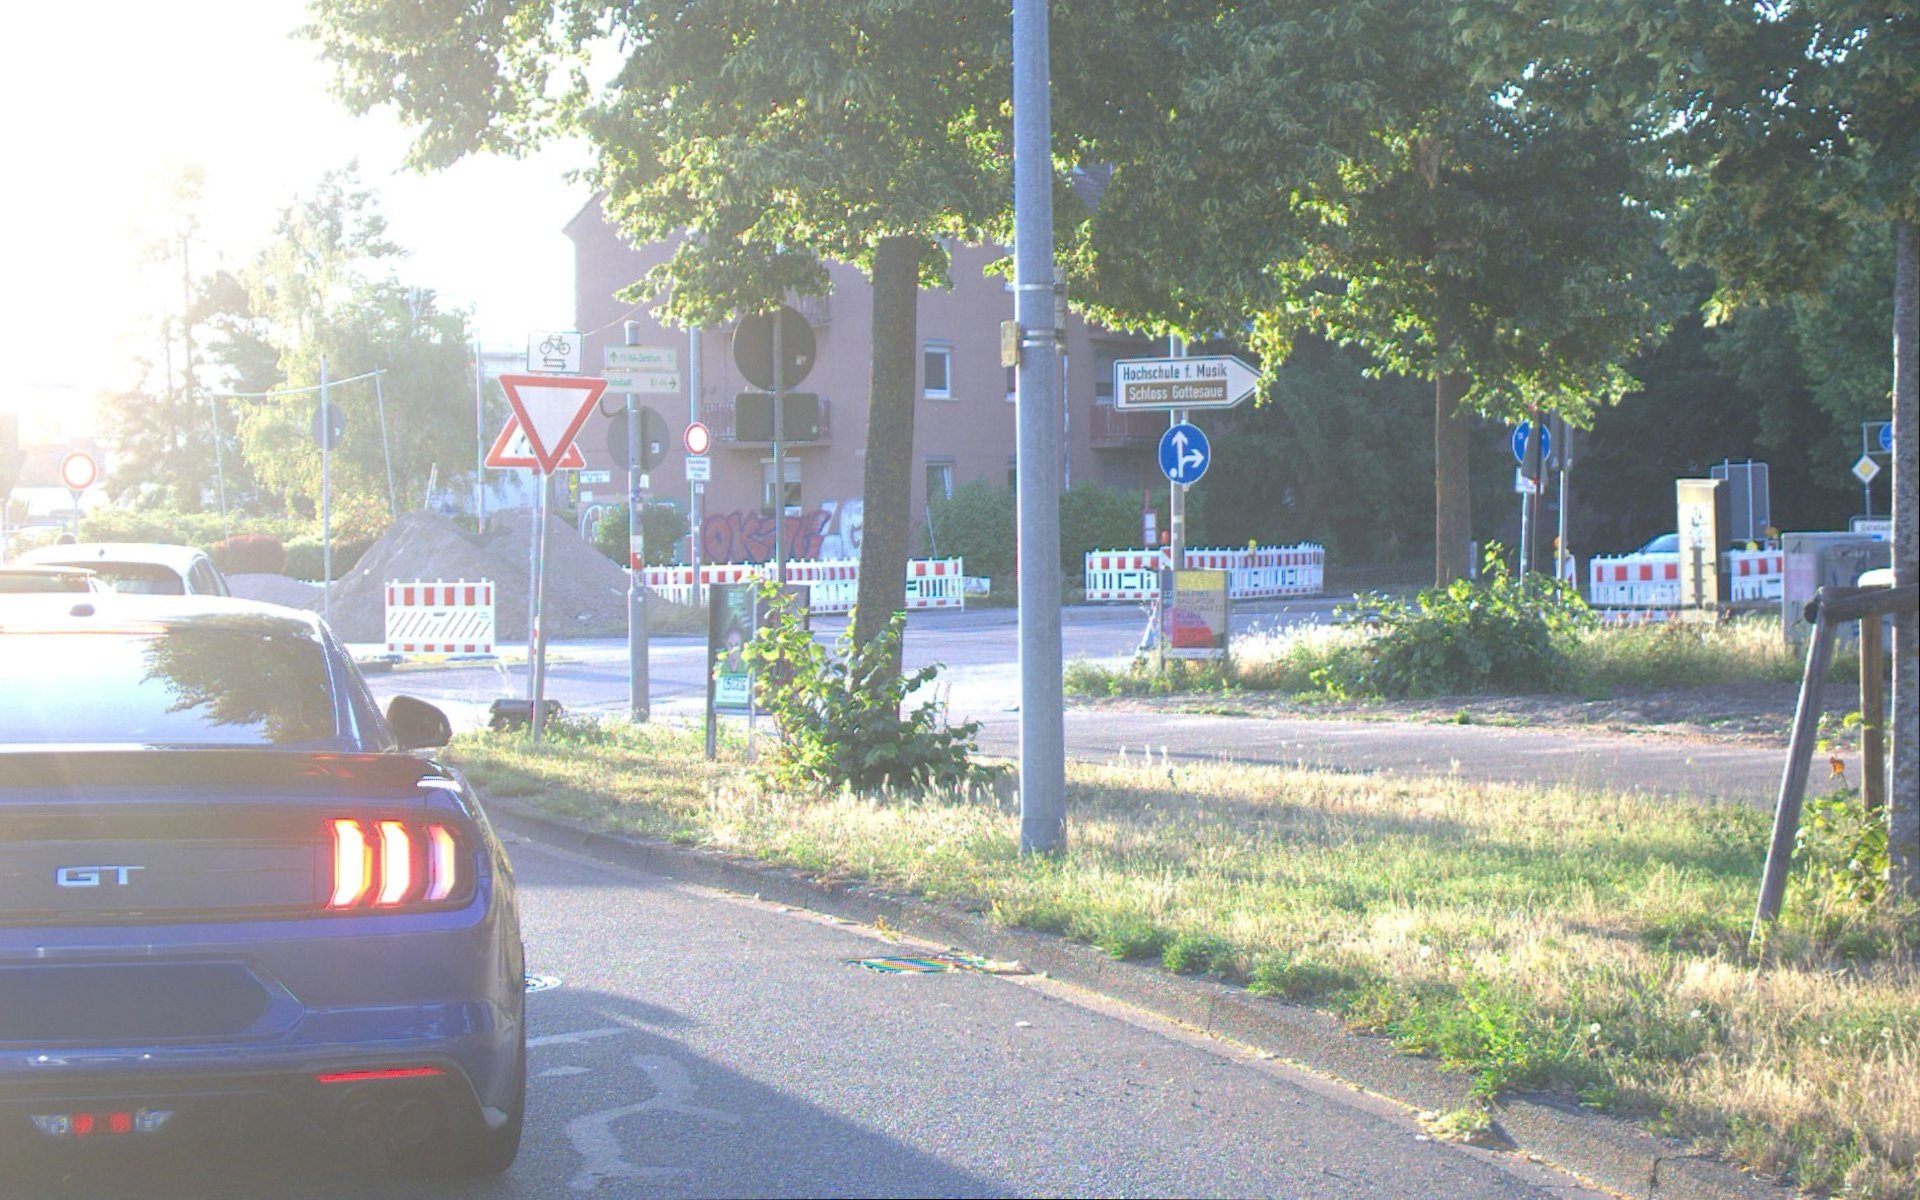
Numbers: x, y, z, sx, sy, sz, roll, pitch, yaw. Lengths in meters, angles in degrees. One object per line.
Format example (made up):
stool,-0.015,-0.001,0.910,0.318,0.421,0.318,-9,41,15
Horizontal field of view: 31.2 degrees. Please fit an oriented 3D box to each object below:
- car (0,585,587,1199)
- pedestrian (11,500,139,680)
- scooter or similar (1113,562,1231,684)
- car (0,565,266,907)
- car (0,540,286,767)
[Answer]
car,-2.347,0.653,8.811,1.950,1.337,4.672,0,1,-17
pedestrian,-8.457,-0.105,32.853,0.844,1.680,0.886,-1,1,-42
scooter or similar,2.184,0.226,35.450,1.119,1.234,0.442,-1,1,-15
car,-4.715,0.542,16.420,1.951,1.422,4.431,1,0,-22
car,-6.488,0.348,26.472,1.951,1.597,4.078,-1,1,-3
